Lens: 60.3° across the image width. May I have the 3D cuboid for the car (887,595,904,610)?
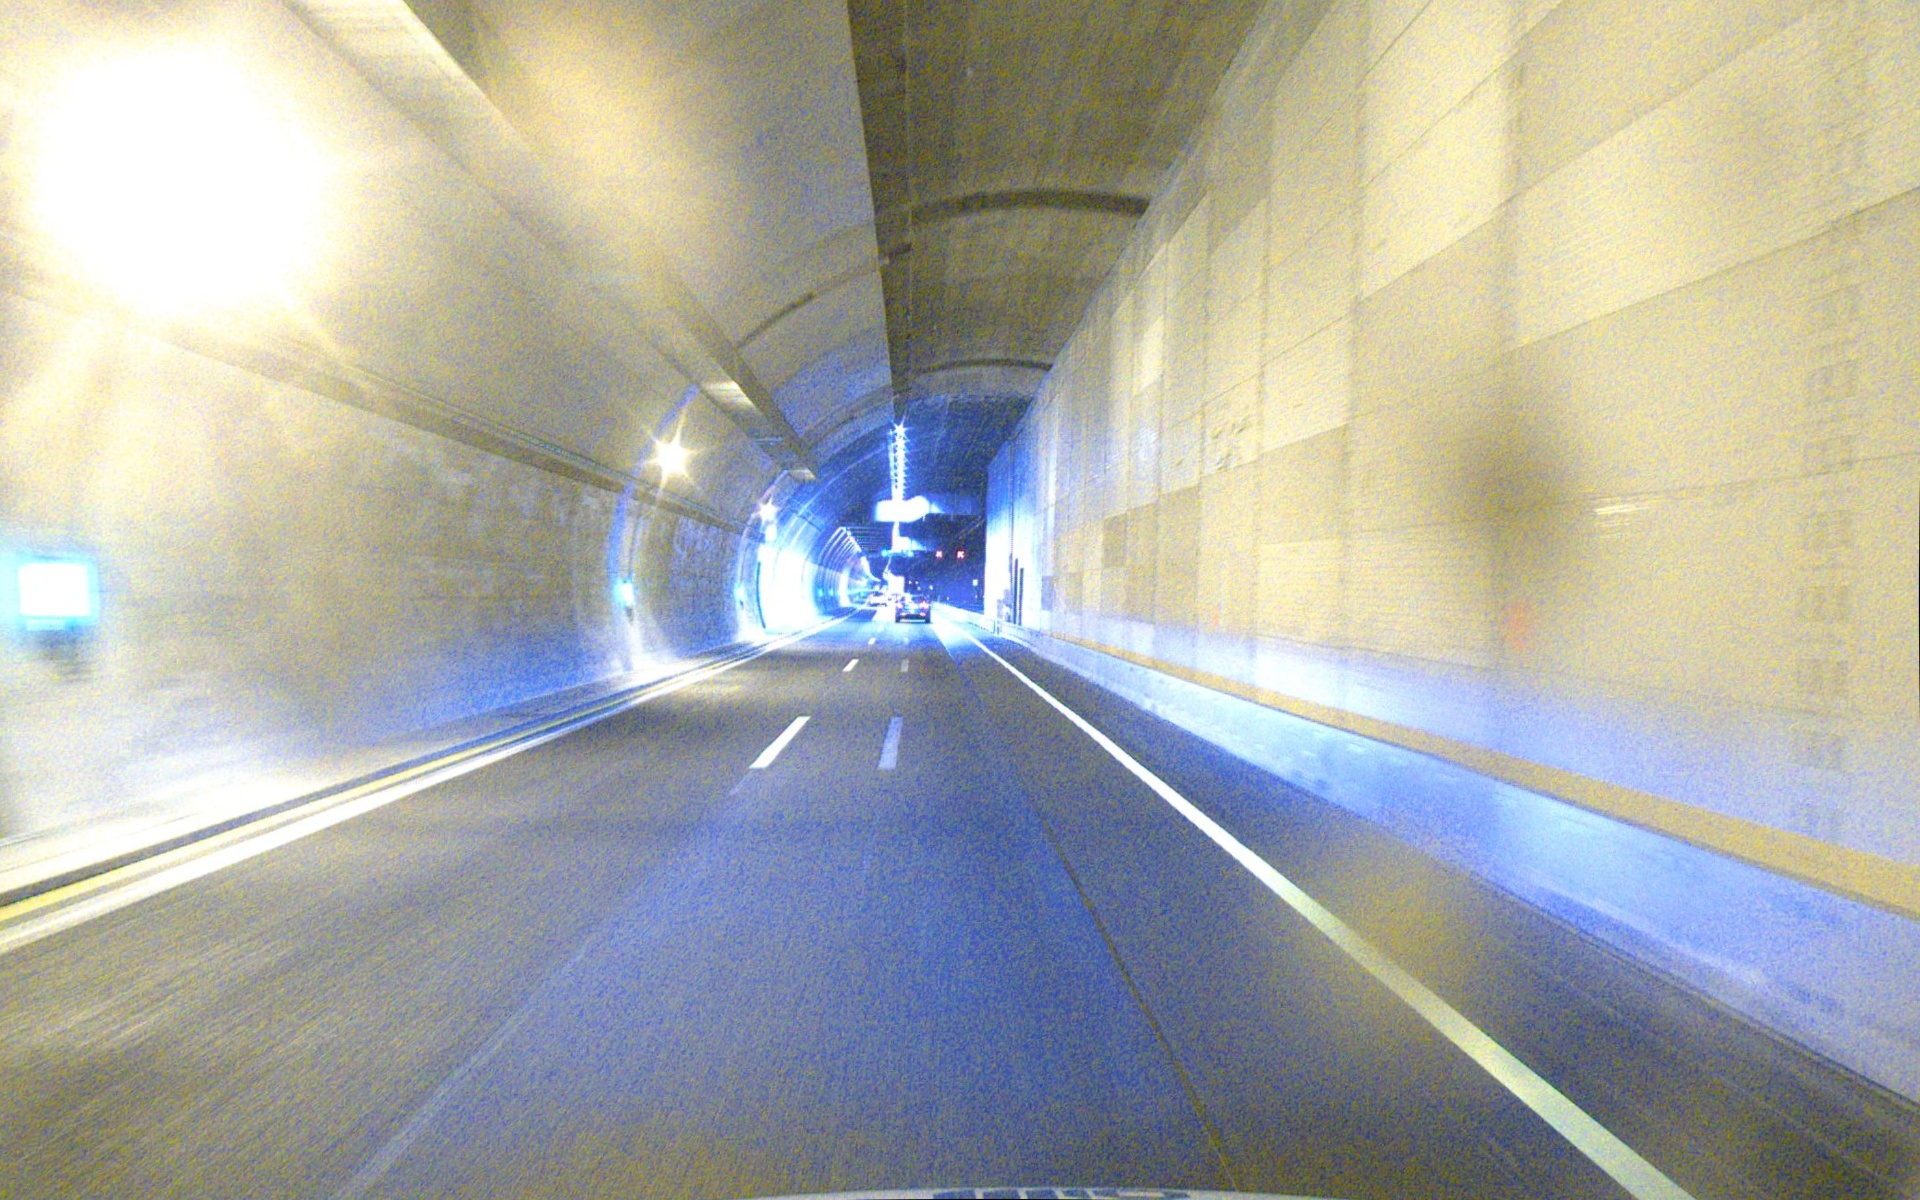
[{"bbox_3d":[-7.414,0.256,190.409,1.891,1.716,3.999,-1,0,-2],"label":"car"}]

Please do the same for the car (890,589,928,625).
[{"bbox_3d":[-2.605,0.345,85.549,1.907,1.826,3.999,-1,0,-1],"label":"car"}]

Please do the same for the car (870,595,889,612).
[{"bbox_3d":[-8.296,0.360,171.005,1.892,1.716,3.997,-1,0,-3],"label":"car"}]
